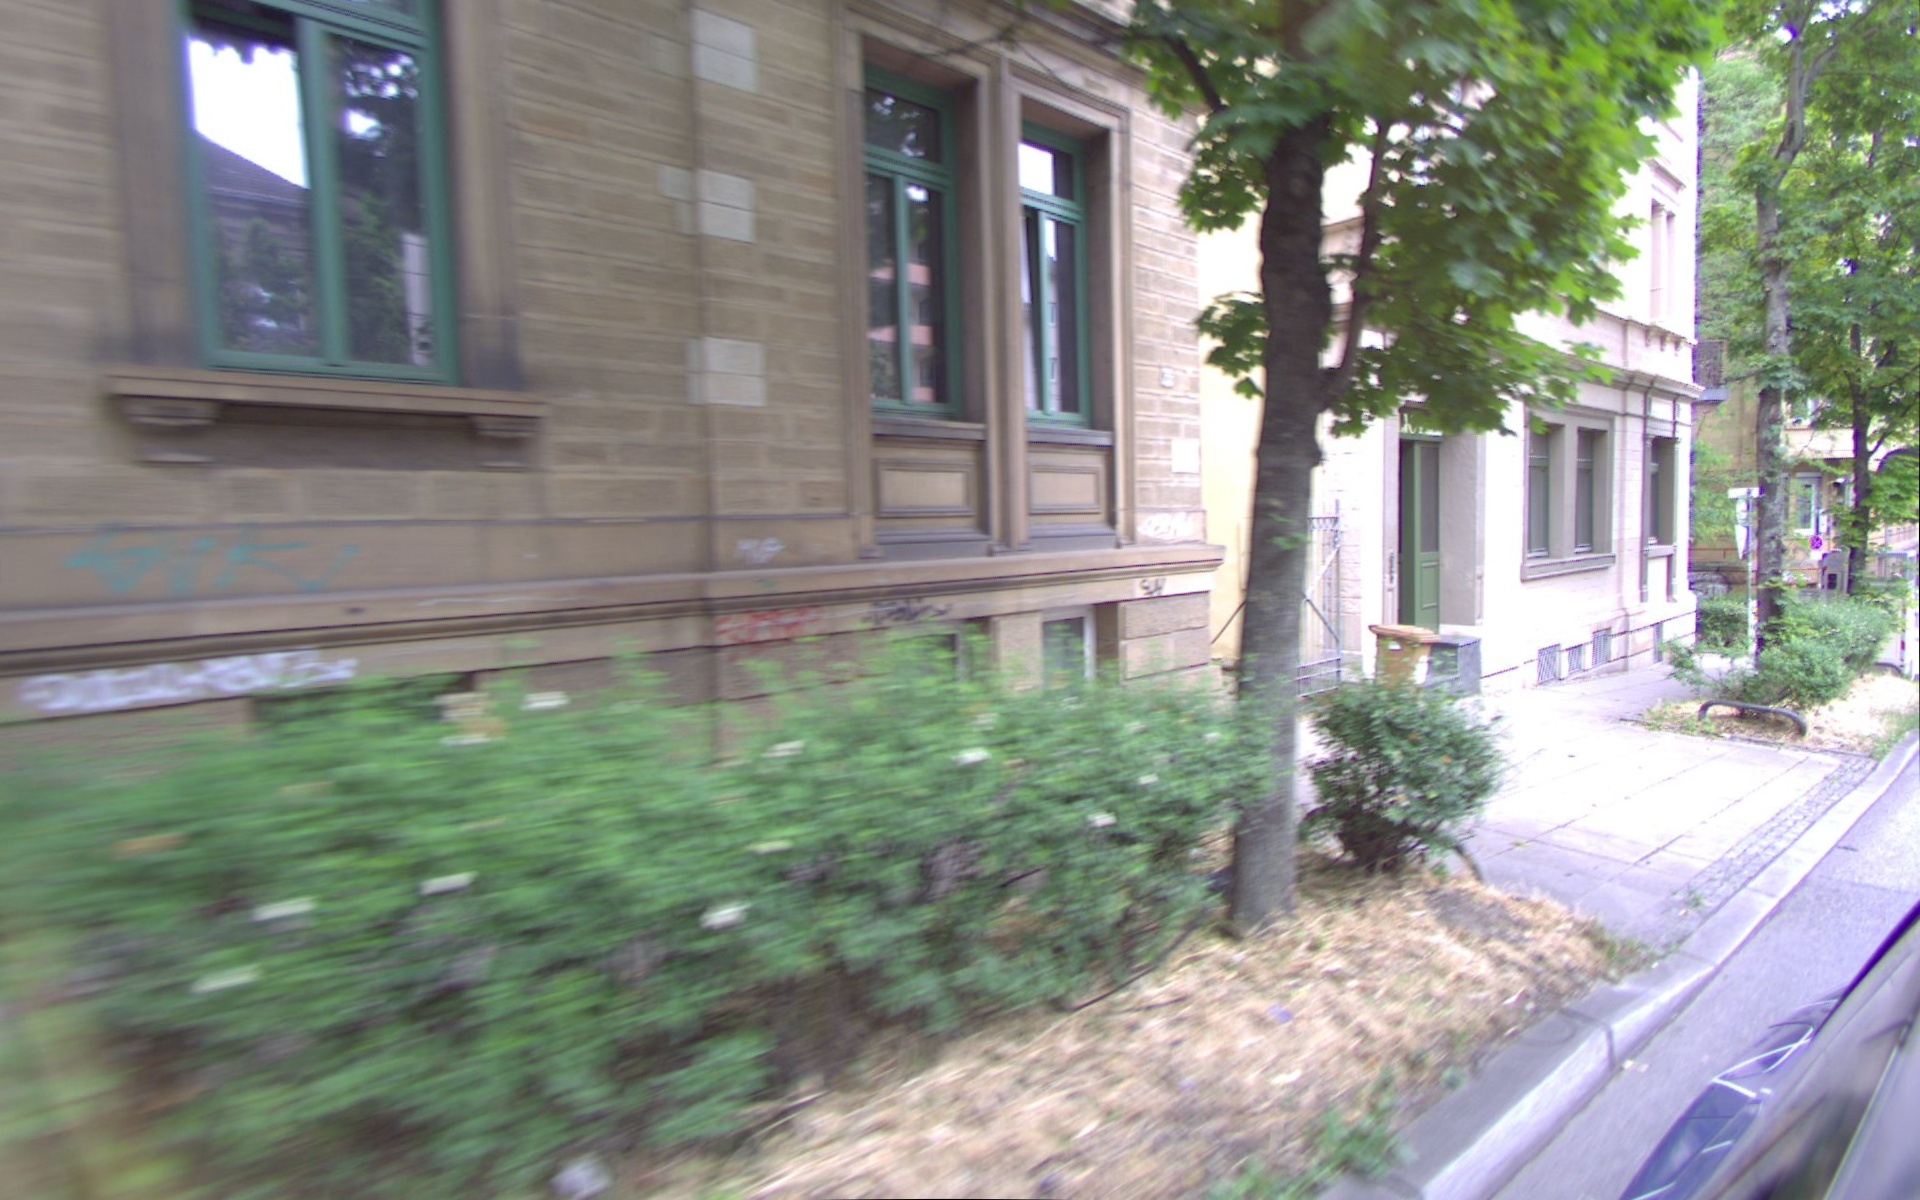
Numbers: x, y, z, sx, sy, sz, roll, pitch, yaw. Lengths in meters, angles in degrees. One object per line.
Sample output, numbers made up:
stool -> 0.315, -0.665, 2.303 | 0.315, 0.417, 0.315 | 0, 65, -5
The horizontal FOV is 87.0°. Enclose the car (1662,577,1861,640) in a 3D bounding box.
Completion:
car -> 22.341, 0.176, 28.335 | 1.781, 1.395, 4.094 | 0, 4, -42

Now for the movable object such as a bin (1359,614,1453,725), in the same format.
movable object such as a bin -> 4.152, 0.627, 9.439 | 0.503, 0.944, 0.564 | 0, 4, -35
